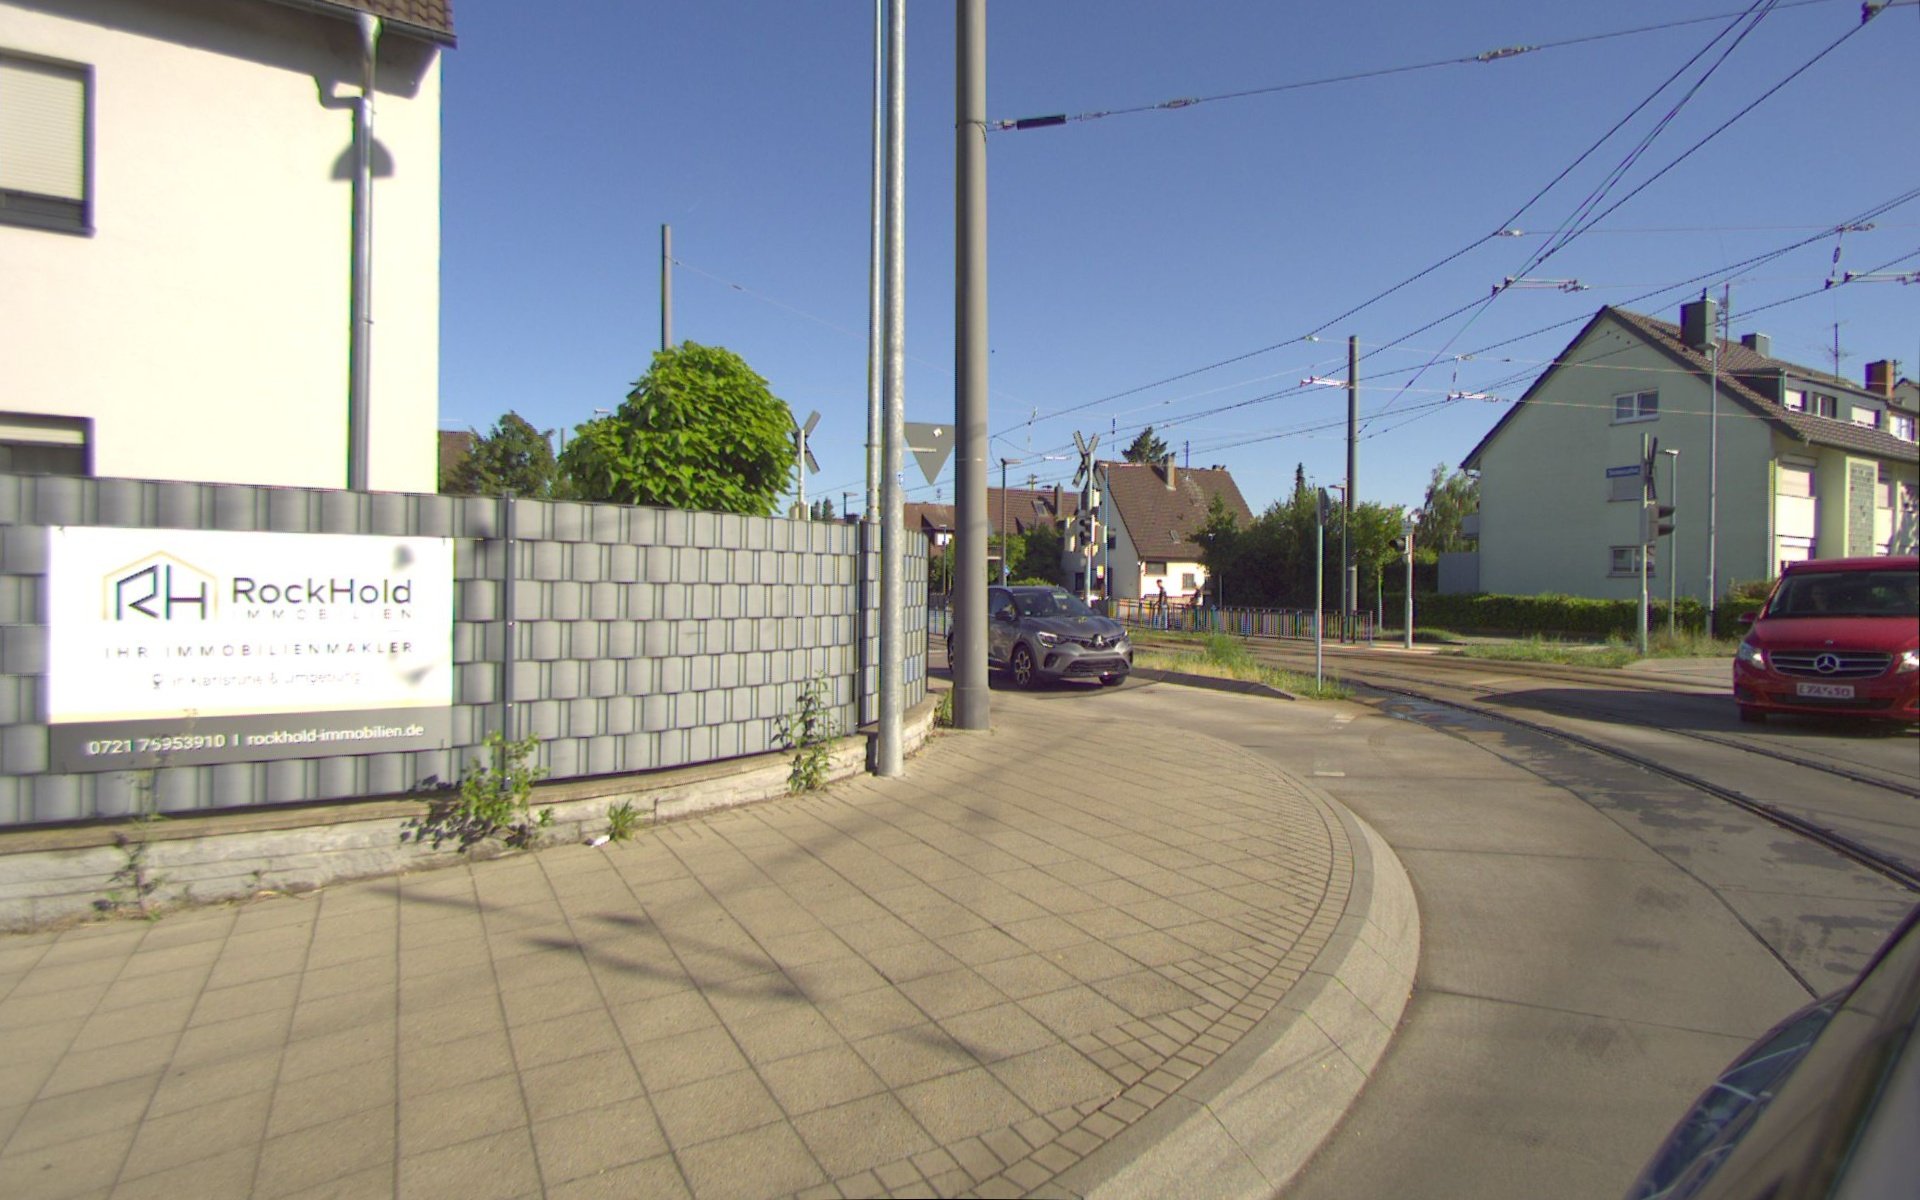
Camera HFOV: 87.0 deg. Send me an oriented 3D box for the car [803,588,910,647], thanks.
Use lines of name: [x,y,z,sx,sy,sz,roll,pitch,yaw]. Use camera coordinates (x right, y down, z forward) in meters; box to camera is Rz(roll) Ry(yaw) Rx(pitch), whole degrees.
car: [-2.801,0.402,26.703,1.653,1.404,4.008,-1,1,-23]

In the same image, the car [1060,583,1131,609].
car: [8.470,-0.275,63.275,3.910,1.554,2.003,0,1,-27]

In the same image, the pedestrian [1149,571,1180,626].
pedestrian: [6.999,-0.069,34.594,0.822,1.792,0.680,2,4,41]

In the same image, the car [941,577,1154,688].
car: [1.310,0.433,16.870,1.793,1.599,4.007,-1,1,-25]

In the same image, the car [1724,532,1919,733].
car: [11.210,0.290,12.170,5.143,2.006,1.999,-1,1,-38]

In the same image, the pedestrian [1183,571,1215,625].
pedestrian: [7.788,-0.083,32.942,0.724,1.681,0.785,2,4,40]
